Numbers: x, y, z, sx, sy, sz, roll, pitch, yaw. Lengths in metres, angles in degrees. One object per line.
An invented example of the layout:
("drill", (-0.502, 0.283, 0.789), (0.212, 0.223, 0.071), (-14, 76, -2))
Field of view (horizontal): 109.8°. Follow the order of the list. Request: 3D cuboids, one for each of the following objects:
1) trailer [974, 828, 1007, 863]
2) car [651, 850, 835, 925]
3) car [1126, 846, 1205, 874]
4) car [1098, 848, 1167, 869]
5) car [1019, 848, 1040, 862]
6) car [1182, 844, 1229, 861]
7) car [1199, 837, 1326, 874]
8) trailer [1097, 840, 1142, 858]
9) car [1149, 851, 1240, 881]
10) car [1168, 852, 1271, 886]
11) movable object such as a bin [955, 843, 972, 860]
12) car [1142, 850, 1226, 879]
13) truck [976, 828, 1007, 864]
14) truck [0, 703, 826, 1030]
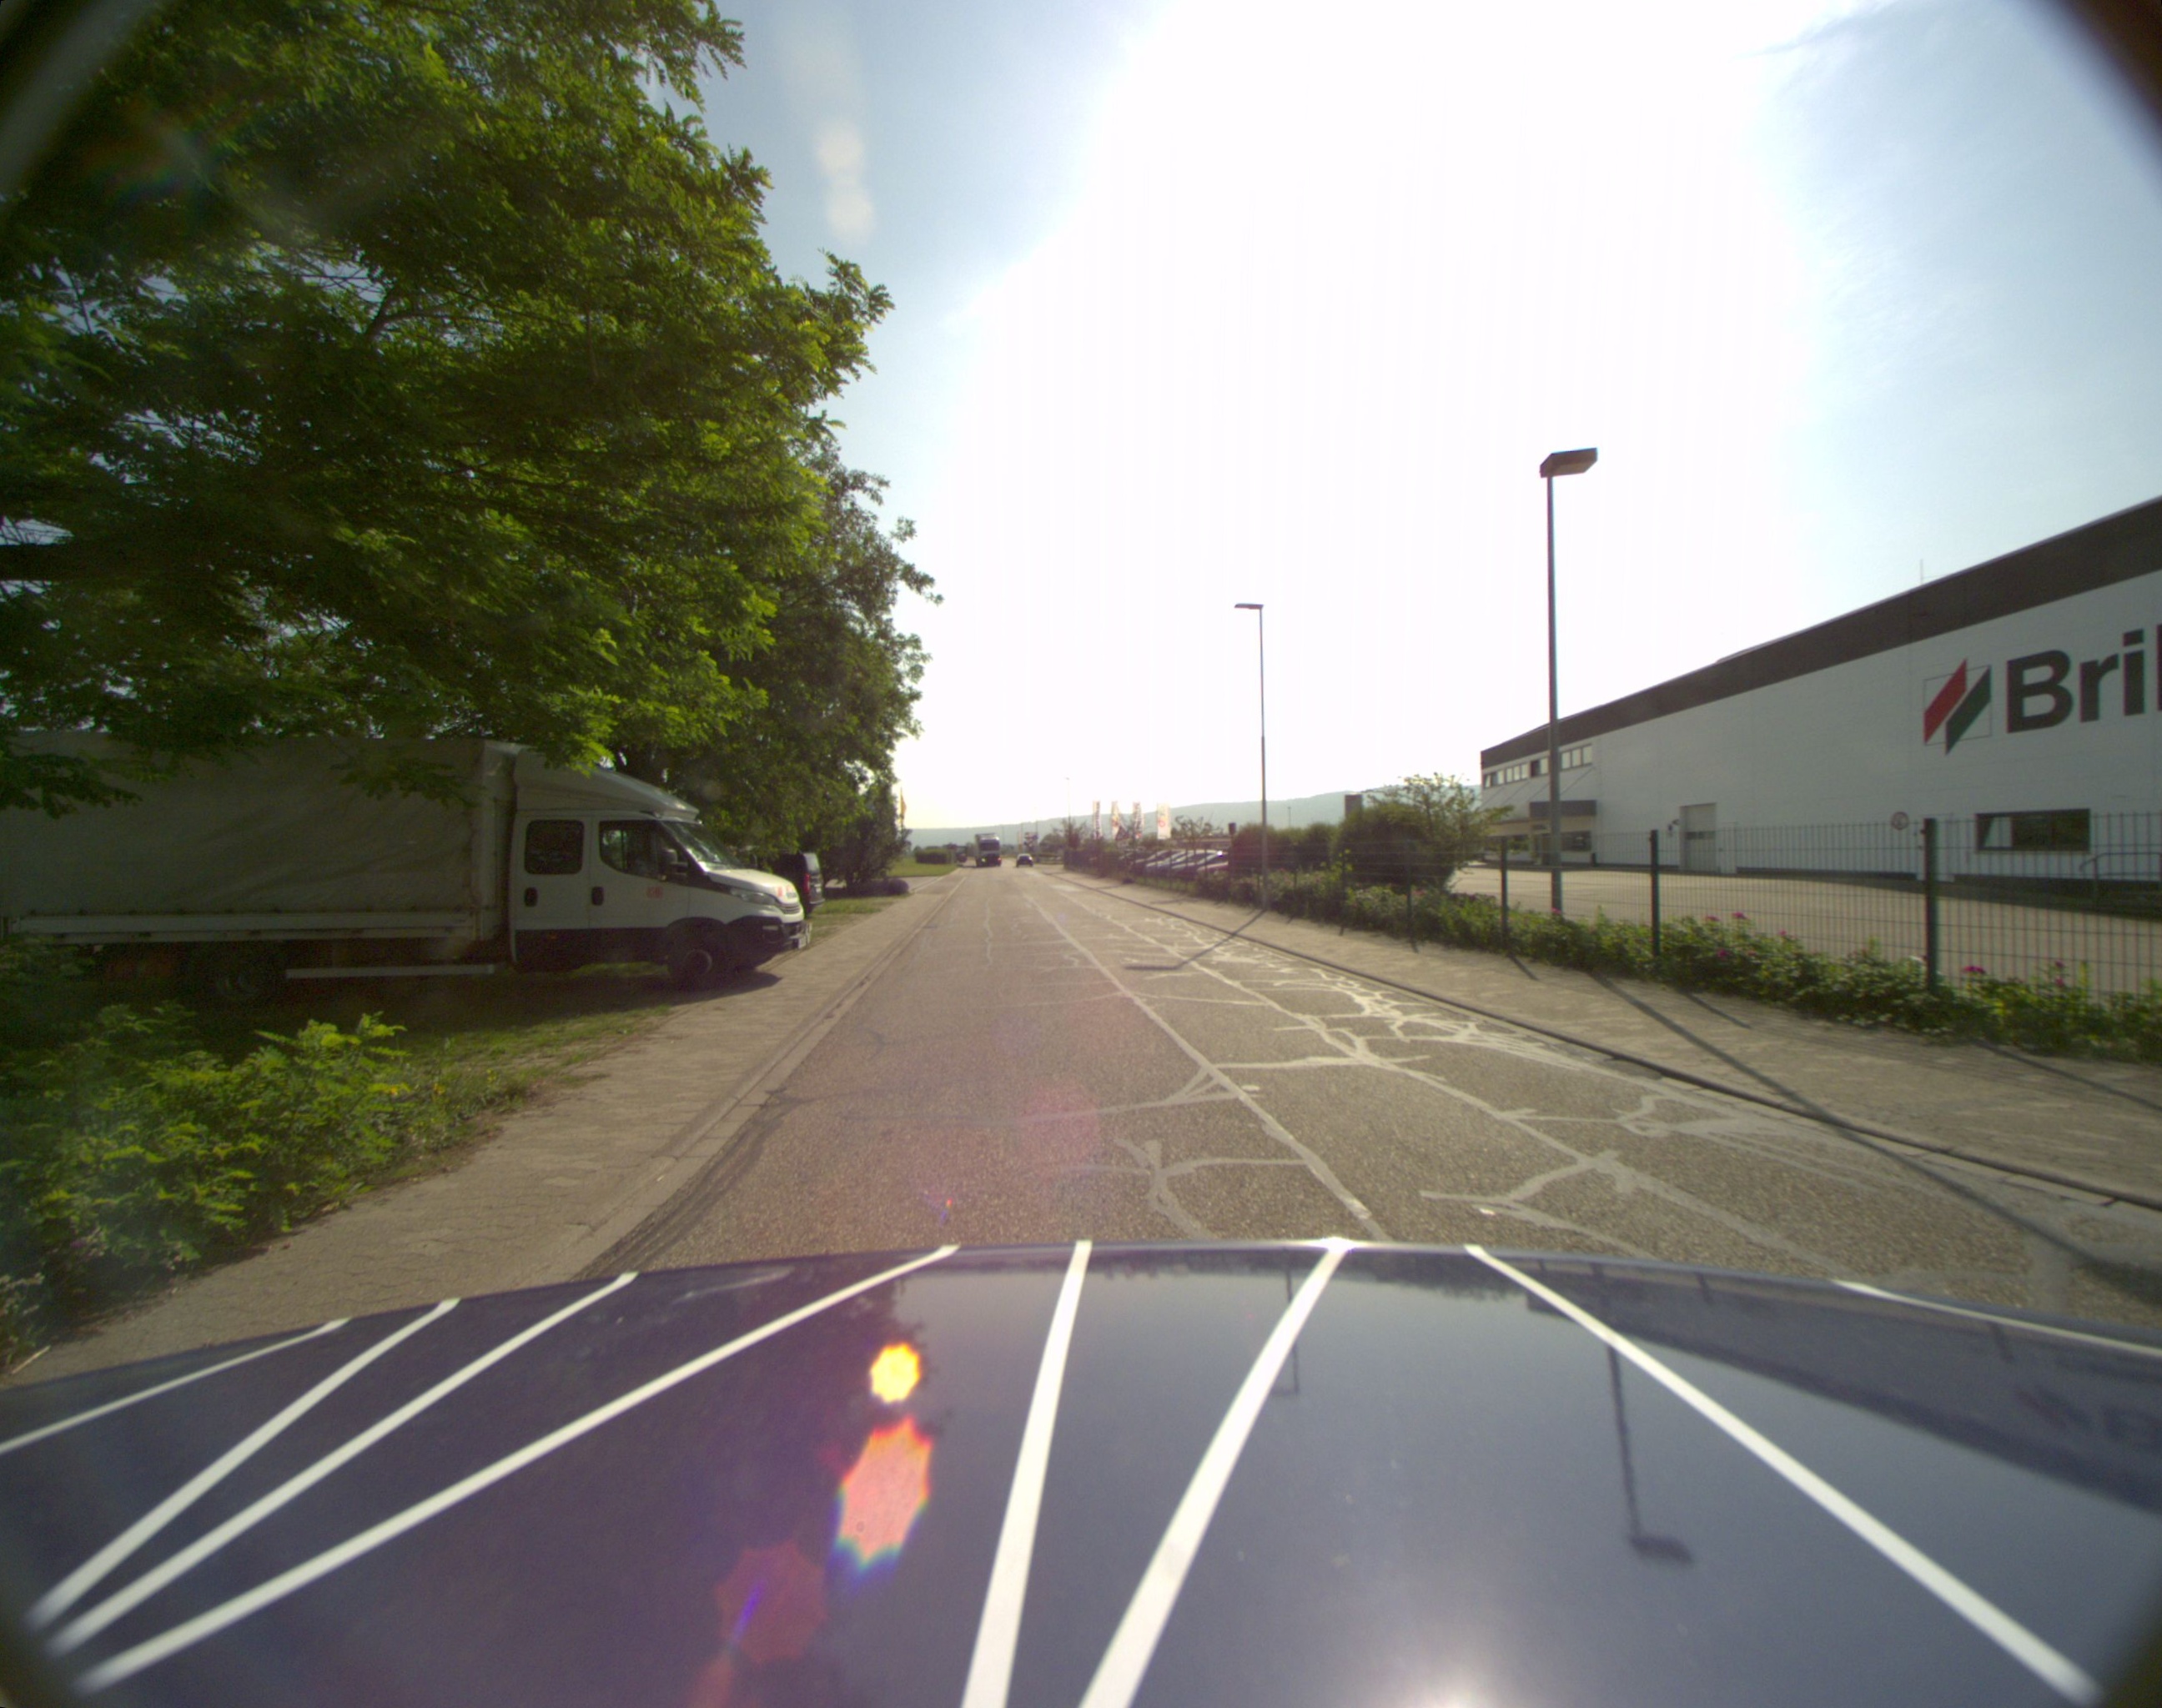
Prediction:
("trailer", (-12.215, -1.194, 101.083), (3.500, 4.184, 14.219), (-3, 2, -9))
("car", (-8.850, 0.830, 20.231), (3.999, 1.827, 1.999), (-1, 1, -6))
("car", (4.800, 0.315, 43.539), (4.140, 1.558, 1.864), (0, 1, -8))
("car", (3.677, 0.329, 54.978), (4.701, 1.436, 2.076), (0, 0, -8))
("car", (-5.858, 0.091, 86.255), (2.000, 1.441, 4.416), (1, 0, -8))
("car", (13.114, -0.172, 79.736), (4.656, 1.742, 2.154), (-1, 1, 14))
("car", (7.183, 0.070, 30.357), (4.551, 1.436, 1.951), (0, 0, -8))
("trailer", (5.663, -0.709, 110.841), (6.319, 2.590, 2.855), (0, 1, 7))
("car", (5.555, 0.585, 37.345), (4.053, 1.436, 1.872), (0, 0, -8))
("car", (6.010, 0.647, 33.266), (4.053, 1.436, 1.872), (0, 0, -8))
("movable object such as a bin", (-20.921, -0.491, 134.658), (2.437, 2.994, 5.746), (0, 0, -14))
("car", (5.370, 0.538, 39.911), (4.053, 1.436, 1.872), (0, 0, -8))
("truck", (-11.075, -0.996, 94.095), (3.397, 4.184, 6.093), (-3, 2, -7))
("truck", (-7.819, 0.062, 9.632), (8.235, 3.351, 2.738), (-1, 2, -8))
